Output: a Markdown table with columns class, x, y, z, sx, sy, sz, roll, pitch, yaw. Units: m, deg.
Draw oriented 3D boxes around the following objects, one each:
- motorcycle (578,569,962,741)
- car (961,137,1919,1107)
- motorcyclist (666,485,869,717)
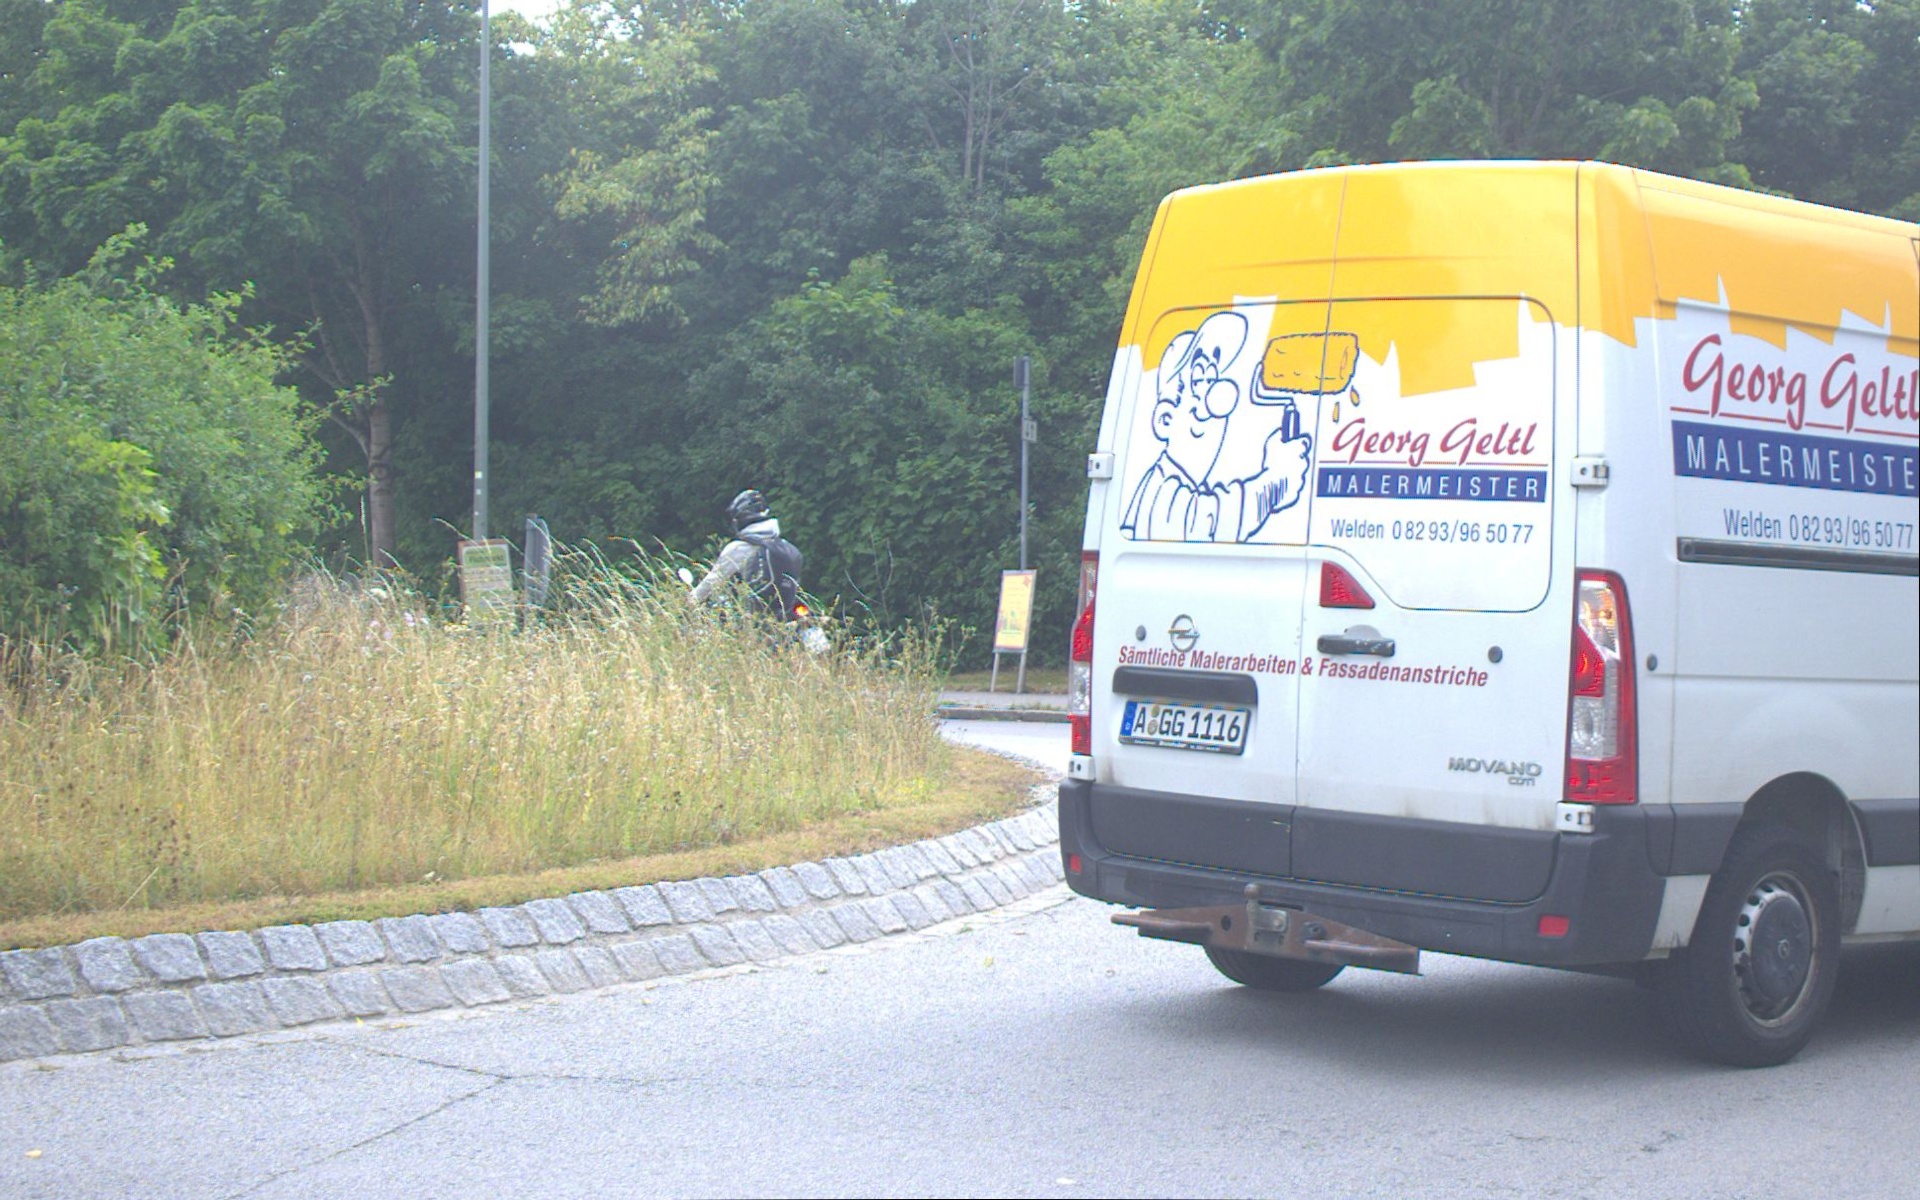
| class | x | y | z | sx | sy | sz | roll | pitch | yaw |
| --- | --- | --- | --- | --- | --- | --- | --- | --- | --- |
| motorcycle | -1.374 | 0.375 | 24.827 | 2.614 | 1.154 | 0.898 | 1 | 1 | 20 |
| car | 2.769 | 0.048 | 11.291 | 5.427 | 2.443 | 2.168 | 1 | 2 | -43 |
| motorcyclist | -1.383 | -0.003 | 24.836 | 1.188 | 1.618 | 0.863 | 1 | 1 | 21 |
